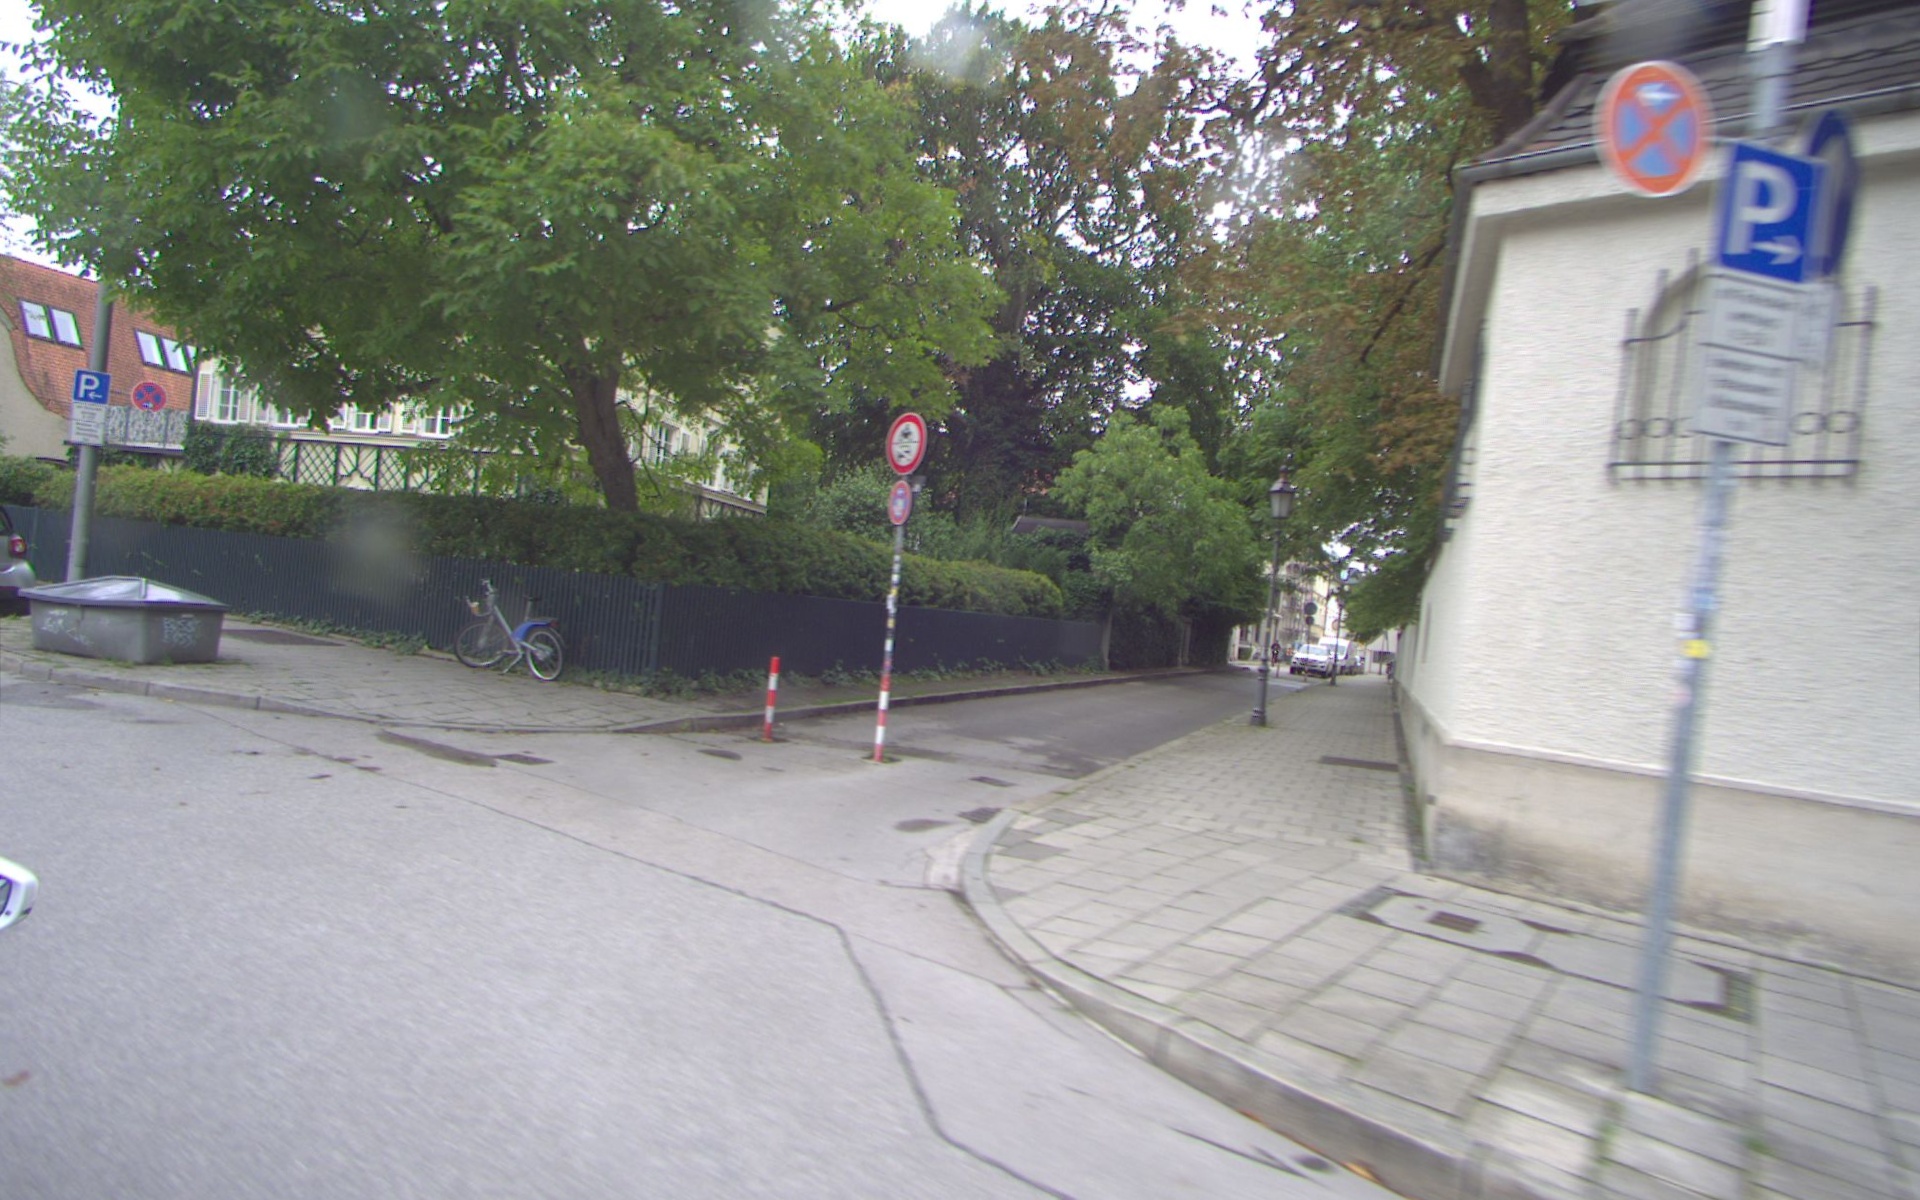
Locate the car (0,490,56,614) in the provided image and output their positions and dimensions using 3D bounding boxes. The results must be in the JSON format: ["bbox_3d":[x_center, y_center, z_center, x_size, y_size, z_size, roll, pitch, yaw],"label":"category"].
[{"bbox_3d":[-13.600,-0.738,12.995,2.892,1.556,1.743,5,1,23],"label":"car"}]

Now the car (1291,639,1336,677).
[{"bbox_3d":[19.549,3.171,55.511,1.895,1.814,4.410,6,0,24],"label":"car"}]

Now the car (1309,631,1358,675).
[{"bbox_3d":[24.424,3.475,65.597,2.008,2.486,7.626,6,0,26],"label":"car"}]

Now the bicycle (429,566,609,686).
[{"bbox_3d":[-5.264,0.296,11.994,1.938,1.176,0.808,6,0,25],"label":"bicycle"}]
